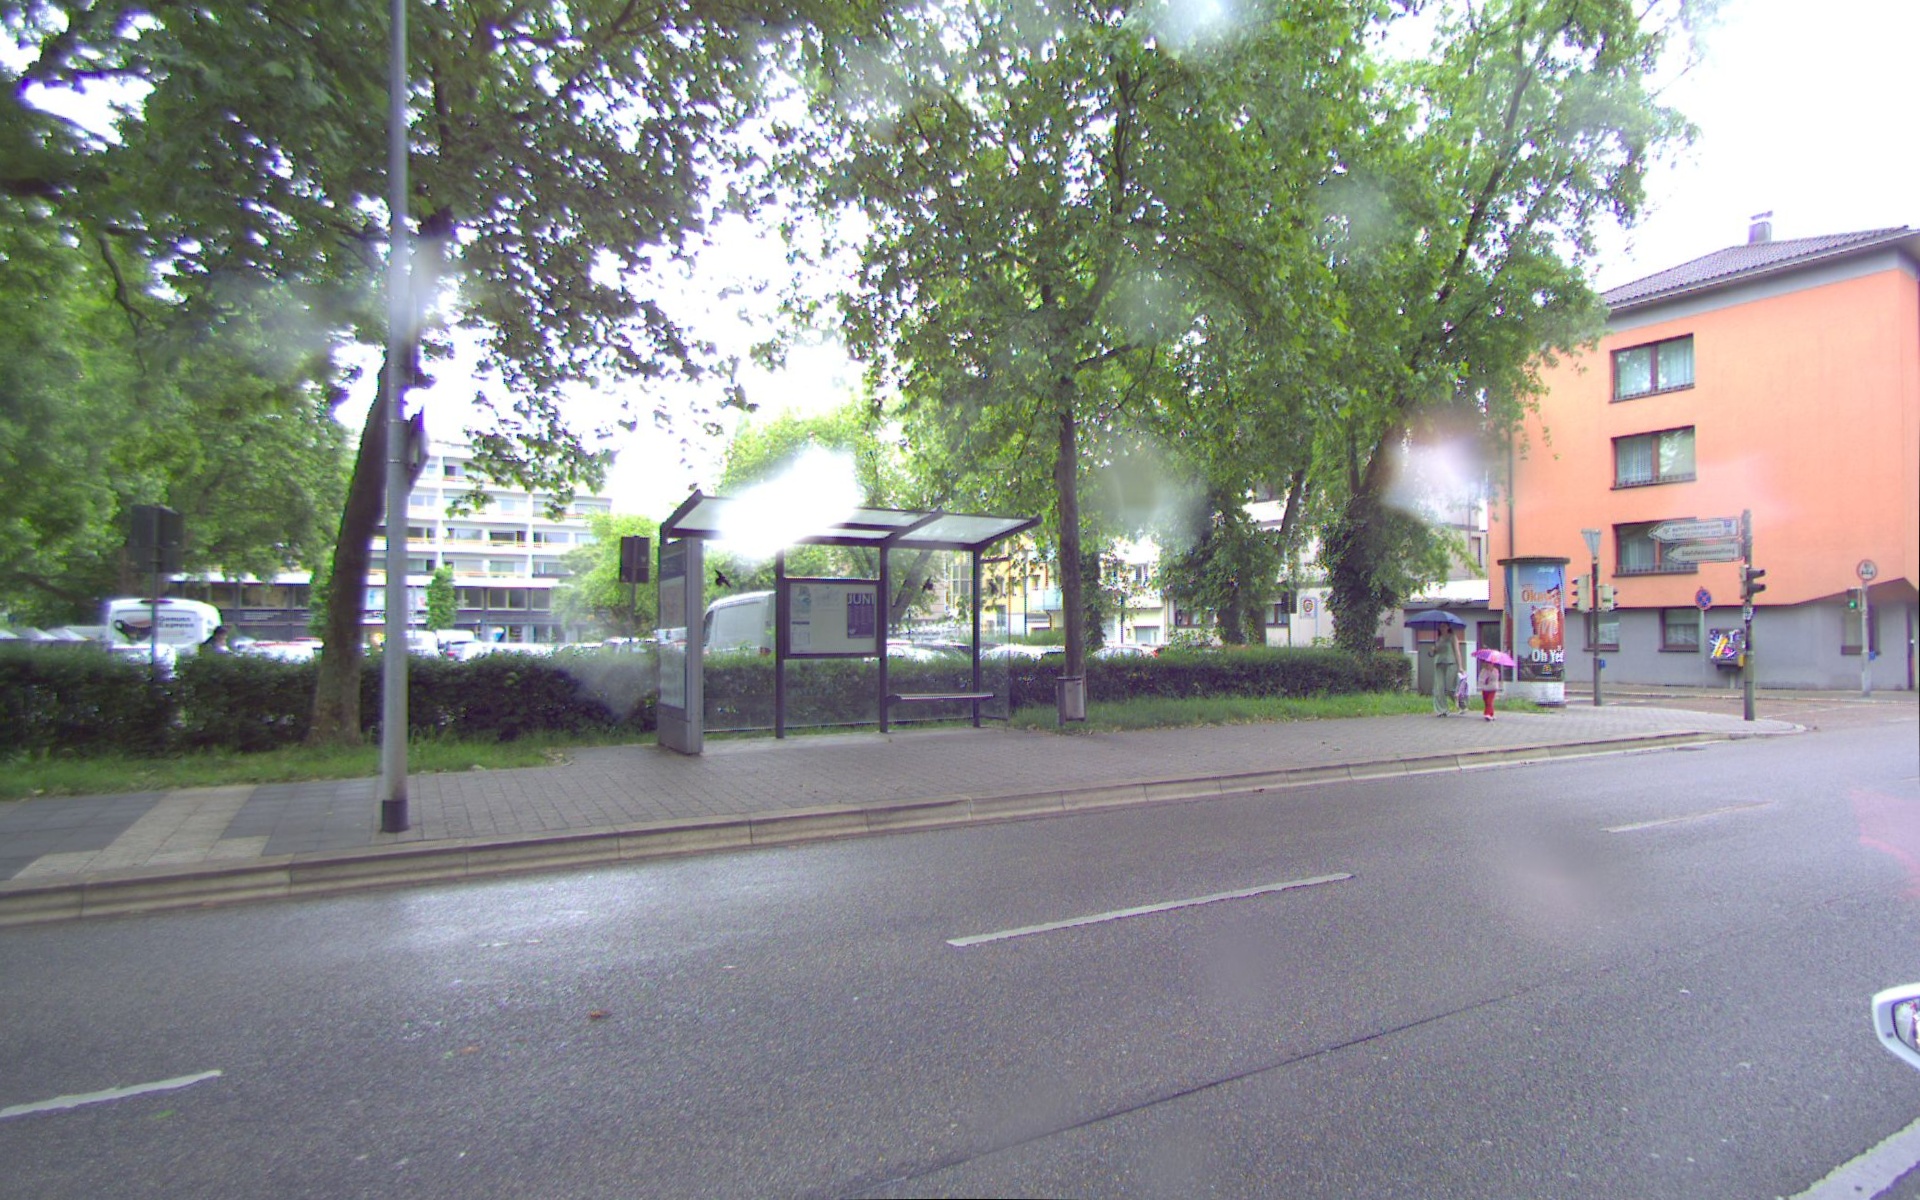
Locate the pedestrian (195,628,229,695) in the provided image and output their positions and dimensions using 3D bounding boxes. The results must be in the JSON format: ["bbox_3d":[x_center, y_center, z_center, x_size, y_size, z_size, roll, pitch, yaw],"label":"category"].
[{"bbox_3d":[-14.090,1.156,18.918,0.481,1.229,0.434,2,0,-37],"label":"pedestrian"}]

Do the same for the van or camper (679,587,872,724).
[{"bbox_3d":[-3.550,1.007,18.620,2.026,2.198,4.458,2,-3,-32],"label":"van or camper"}]

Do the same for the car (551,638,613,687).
[{"bbox_3d":[-11.959,1.935,31.684,1.375,1.454,3.248,1,-3,-29],"label":"car"}]

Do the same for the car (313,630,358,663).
[{"bbox_3d":[-31.422,2.315,50.587,1.818,1.444,3.799,2,0,-31],"label":"car"}]

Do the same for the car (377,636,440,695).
[{"bbox_3d":[-14.734,1.720,26.853,1.375,1.454,3.248,1,-3,-29],"label":"car"}]

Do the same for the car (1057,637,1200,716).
[{"bbox_3d":[3.803,1.685,23.043,1.492,1.544,3.174,2,0,-32],"label":"car"}]

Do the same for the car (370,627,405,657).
[{"bbox_3d":[-33.043,2.403,57.918,1.622,1.544,3.174,1,1,-32],"label":"car"}]

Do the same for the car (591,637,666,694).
[{"bbox_3d":[-9.113,1.759,27.507,1.375,1.454,3.248,1,-3,-29],"label":"car"}]

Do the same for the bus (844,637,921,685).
[{"bbox_3d":[-2.464,1.894,31.550,1.364,1.451,2.777,2,-3,-30],"label":"bus"}]

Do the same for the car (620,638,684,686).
[{"bbox_3d":[-9.994,1.976,32.476,1.375,1.454,3.248,1,-3,-29],"label":"car"}]

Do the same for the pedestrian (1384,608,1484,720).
[{"bbox_3d":[7.890,1.031,16.733,1.195,1.765,0.987,1,0,-30],"label":"pedestrian"}]

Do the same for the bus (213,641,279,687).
[{"bbox_3d":[-25.550,2.274,36.019,1.587,1.559,3.403,2,-3,-30],"label":"bus"}]

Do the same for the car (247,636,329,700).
[{"bbox_3d":[-16.512,1.649,24.792,1.375,1.454,3.248,1,-3,-29],"label":"car"}]

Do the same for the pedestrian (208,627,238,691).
[{"bbox_3d":[-14.620,1.163,19.929,0.462,1.229,0.434,2,0,-37],"label":"pedestrian"}]

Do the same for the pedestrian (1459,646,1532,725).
[{"bbox_3d":[8.527,1.340,16.005,0.817,1.190,0.681,1,0,-30],"label":"pedestrian"}]

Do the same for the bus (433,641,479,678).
[{"bbox_3d":[-22.372,2.613,44.574,1.587,1.559,3.403,2,-3,-30],"label":"bus"}]

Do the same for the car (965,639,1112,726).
[{"bbox_3d":[1.582,1.661,21.173,1.492,1.544,3.174,2,0,-32],"label":"car"}]

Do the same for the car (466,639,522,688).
[{"bbox_3d":[-14.543,1.950,31.283,1.375,1.454,3.248,1,-3,-29],"label":"car"}]

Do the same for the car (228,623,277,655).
[{"bbox_3d":[-33.716,1.860,47.911,1.587,1.447,3.293,2,-3,-30],"label":"car"}]

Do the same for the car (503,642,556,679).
[{"bbox_3d":[-17.697,2.456,41.240,1.587,1.447,3.293,2,-3,-30],"label":"car"}]

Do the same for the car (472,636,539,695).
[{"bbox_3d":[-12.091,1.713,26.651,1.375,1.454,3.248,1,-3,-29],"label":"car"}]

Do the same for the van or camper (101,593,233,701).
[{"bbox_3d":[-20.699,1.225,26.425,2.074,2.570,4.392,1,-3,-30],"label":"van or camper"}]

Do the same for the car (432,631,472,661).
[{"bbox_3d":[-27.379,2.455,54.114,1.622,1.544,3.174,2,-1,-32],"label":"car"}]

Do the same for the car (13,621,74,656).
[{"bbox_3d":[-40.851,1.696,44.832,1.412,1.447,2.941,1,0,-30],"label":"car"}]

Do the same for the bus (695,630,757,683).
[{"bbox_3d":[-7.831,1.867,33.525,1.363,1.698,2.779,1,-3,-28],"label":"bus"}]

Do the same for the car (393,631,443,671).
[{"bbox_3d":[-20.901,1.948,38.690,1.587,1.447,3.293,2,-3,-30],"label":"car"}]

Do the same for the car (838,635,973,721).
[{"bbox_3d":[-1.213,1.576,21.189,1.492,1.544,3.174,2,0,-32],"label":"car"}]

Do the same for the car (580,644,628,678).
[{"bbox_3d":[-15.198,2.581,42.831,1.332,1.401,3.141,2,-3,-30],"label":"car"}]
